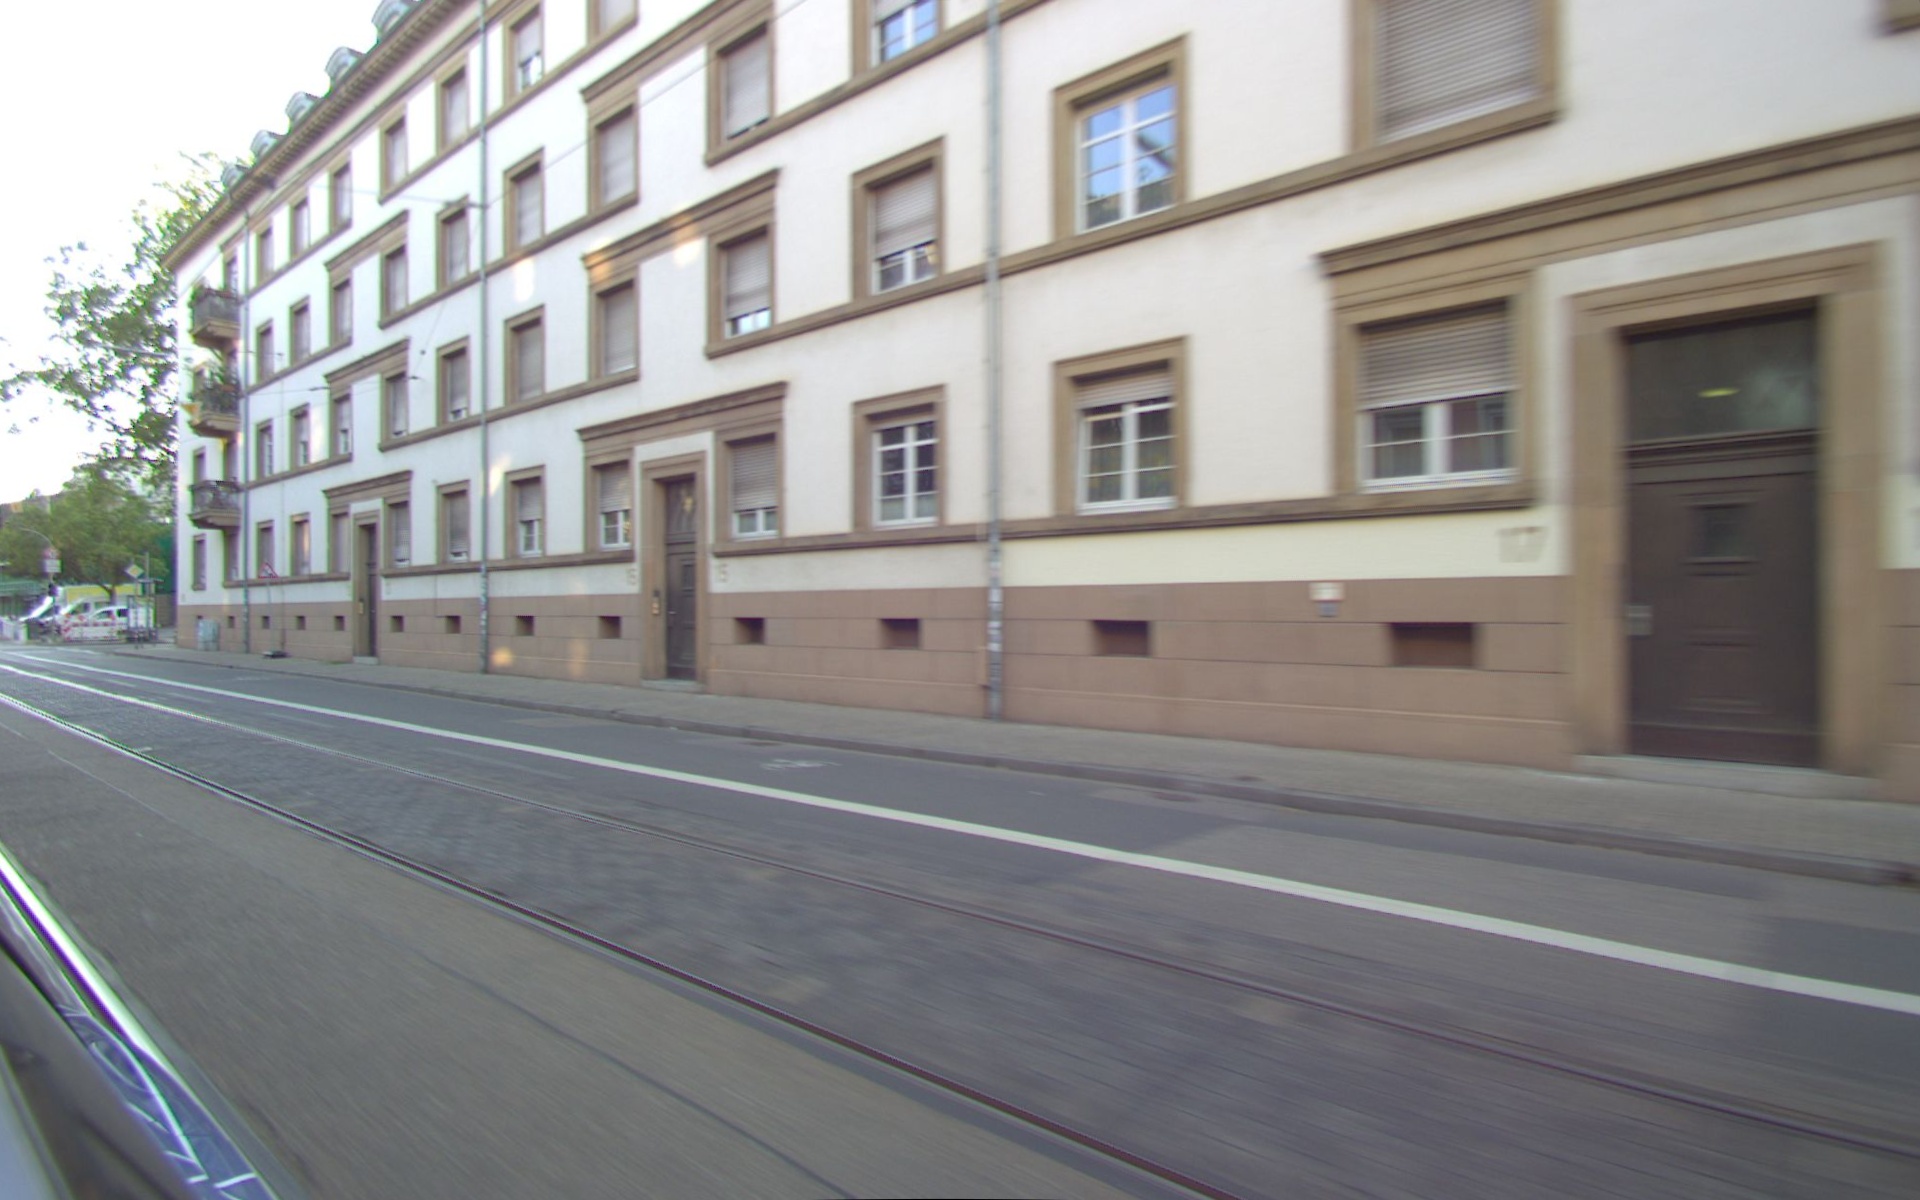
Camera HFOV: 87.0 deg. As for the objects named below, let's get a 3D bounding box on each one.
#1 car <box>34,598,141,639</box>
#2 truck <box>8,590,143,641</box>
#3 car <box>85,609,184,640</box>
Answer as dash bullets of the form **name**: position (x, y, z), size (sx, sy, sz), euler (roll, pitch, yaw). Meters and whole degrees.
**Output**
- **car**: position (-59.357, 1.252, 68.915), size (2.226, 2.617, 5.171), euler (-2, -1, 37)
- **truck**: position (-63.662, 1.071, 73.013), size (2.562, 3.454, 6.992), euler (-2, -1, 37)
- **car**: position (-54.022, 1.598, 66.325), size (2.015, 1.888, 4.781), euler (-2, -1, 42)
